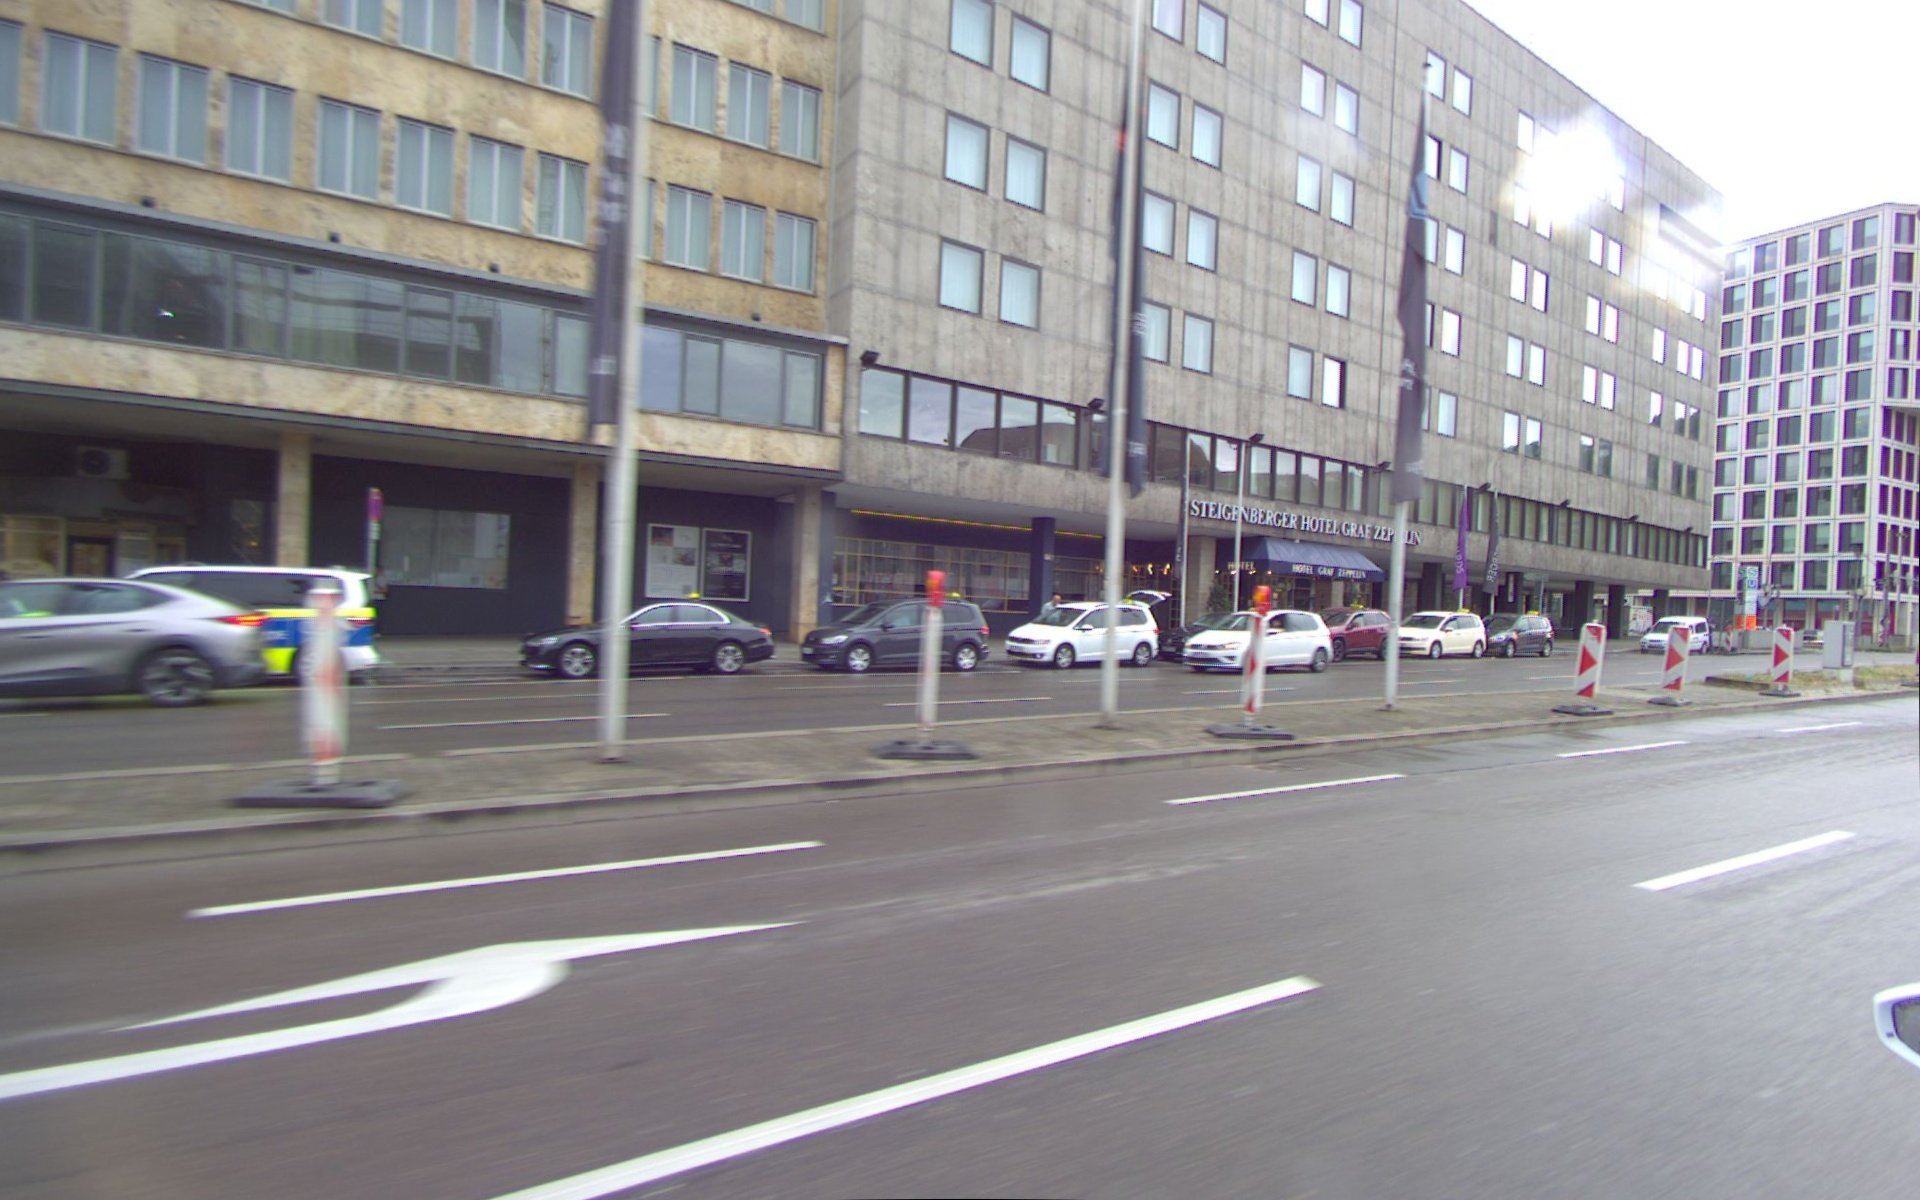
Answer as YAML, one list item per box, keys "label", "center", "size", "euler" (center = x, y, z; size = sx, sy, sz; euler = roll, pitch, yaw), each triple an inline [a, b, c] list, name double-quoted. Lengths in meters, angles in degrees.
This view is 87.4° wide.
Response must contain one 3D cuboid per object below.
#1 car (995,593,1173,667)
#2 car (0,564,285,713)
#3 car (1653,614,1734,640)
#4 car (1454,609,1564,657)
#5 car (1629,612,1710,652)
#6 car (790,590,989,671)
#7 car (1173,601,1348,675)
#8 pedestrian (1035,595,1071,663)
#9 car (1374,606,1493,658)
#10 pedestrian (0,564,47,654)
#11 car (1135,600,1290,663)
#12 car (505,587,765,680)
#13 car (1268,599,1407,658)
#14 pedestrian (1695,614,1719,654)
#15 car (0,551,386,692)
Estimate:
- label: "car"
  center: [3.296, 0.787, 26.288]
  size: [4.665, 1.781, 1.742]
  euler: [2, -1, -36]
- label: "car"
  center: [-11.020, 0.451, 12.352]
  size: [4.453, 1.691, 1.763]
  euler: [2, -1, -34]
- label: "car"
  center: [60.804, 2.222, 83.339]
  size: [2.059, 1.930, 5.055]
  euler: [1, 0, -24]
- label: "car"
  center: [21.283, 1.274, 38.865]
  size: [4.465, 1.751, 1.806]
  euler: [2, 0, -33]
- label: "car"
  center: [33.939, 1.525, 48.014]
  size: [4.328, 1.786, 1.762]
  euler: [2, 0, -35]
- label: "car"
  center: [-1.572, 0.666, 22.824]
  size: [4.180, 1.704, 1.745]
  euler: [1, 0, -31]
- label: "car"
  center: [7.560, 0.927, 25.113]
  size: [4.455, 1.691, 1.812]
  euler: [2, 0, -35]
- label: "pedestrian"
  center: [2.524, 0.785, 27.229]
  size: [0.651, 1.805, 0.617]
  euler: [2, 1, -34]
- label: "car"
  center: [16.876, 1.127, 35.745]
  size: [4.532, 1.720, 1.804]
  euler: [2, 0, -35]
- label: "pedestrian"
  center: [-16.898, 0.149, 17.753]
  size: [0.945, 1.569, 0.712]
  euler: [2, 0, -28]
- label: "car"
  center: [7.464, 0.904, 29.549]
  size: [4.570, 1.682, 1.890]
  euler: [1, 0, -35]
- label: "car"
  center: [-6.299, 0.649, 19.702]
  size: [4.520, 1.643, 1.742]
  euler: [2, -1, -36]
- label: "car"
  center: [12.406, 0.950, 32.909]
  size: [4.596, 1.791, 1.891]
  euler: [2, 0, -33]
- label: "pedestrian"
  center: [36.489, 1.648, 49.060]
  size: [0.787, 1.911, 0.687]
  euler: [1, 0, -32]
- label: "car"
  center: [-12.039, 0.313, 15.849]
  size: [5.025, 1.954, 1.887]
  euler: [1, 0, -36]
